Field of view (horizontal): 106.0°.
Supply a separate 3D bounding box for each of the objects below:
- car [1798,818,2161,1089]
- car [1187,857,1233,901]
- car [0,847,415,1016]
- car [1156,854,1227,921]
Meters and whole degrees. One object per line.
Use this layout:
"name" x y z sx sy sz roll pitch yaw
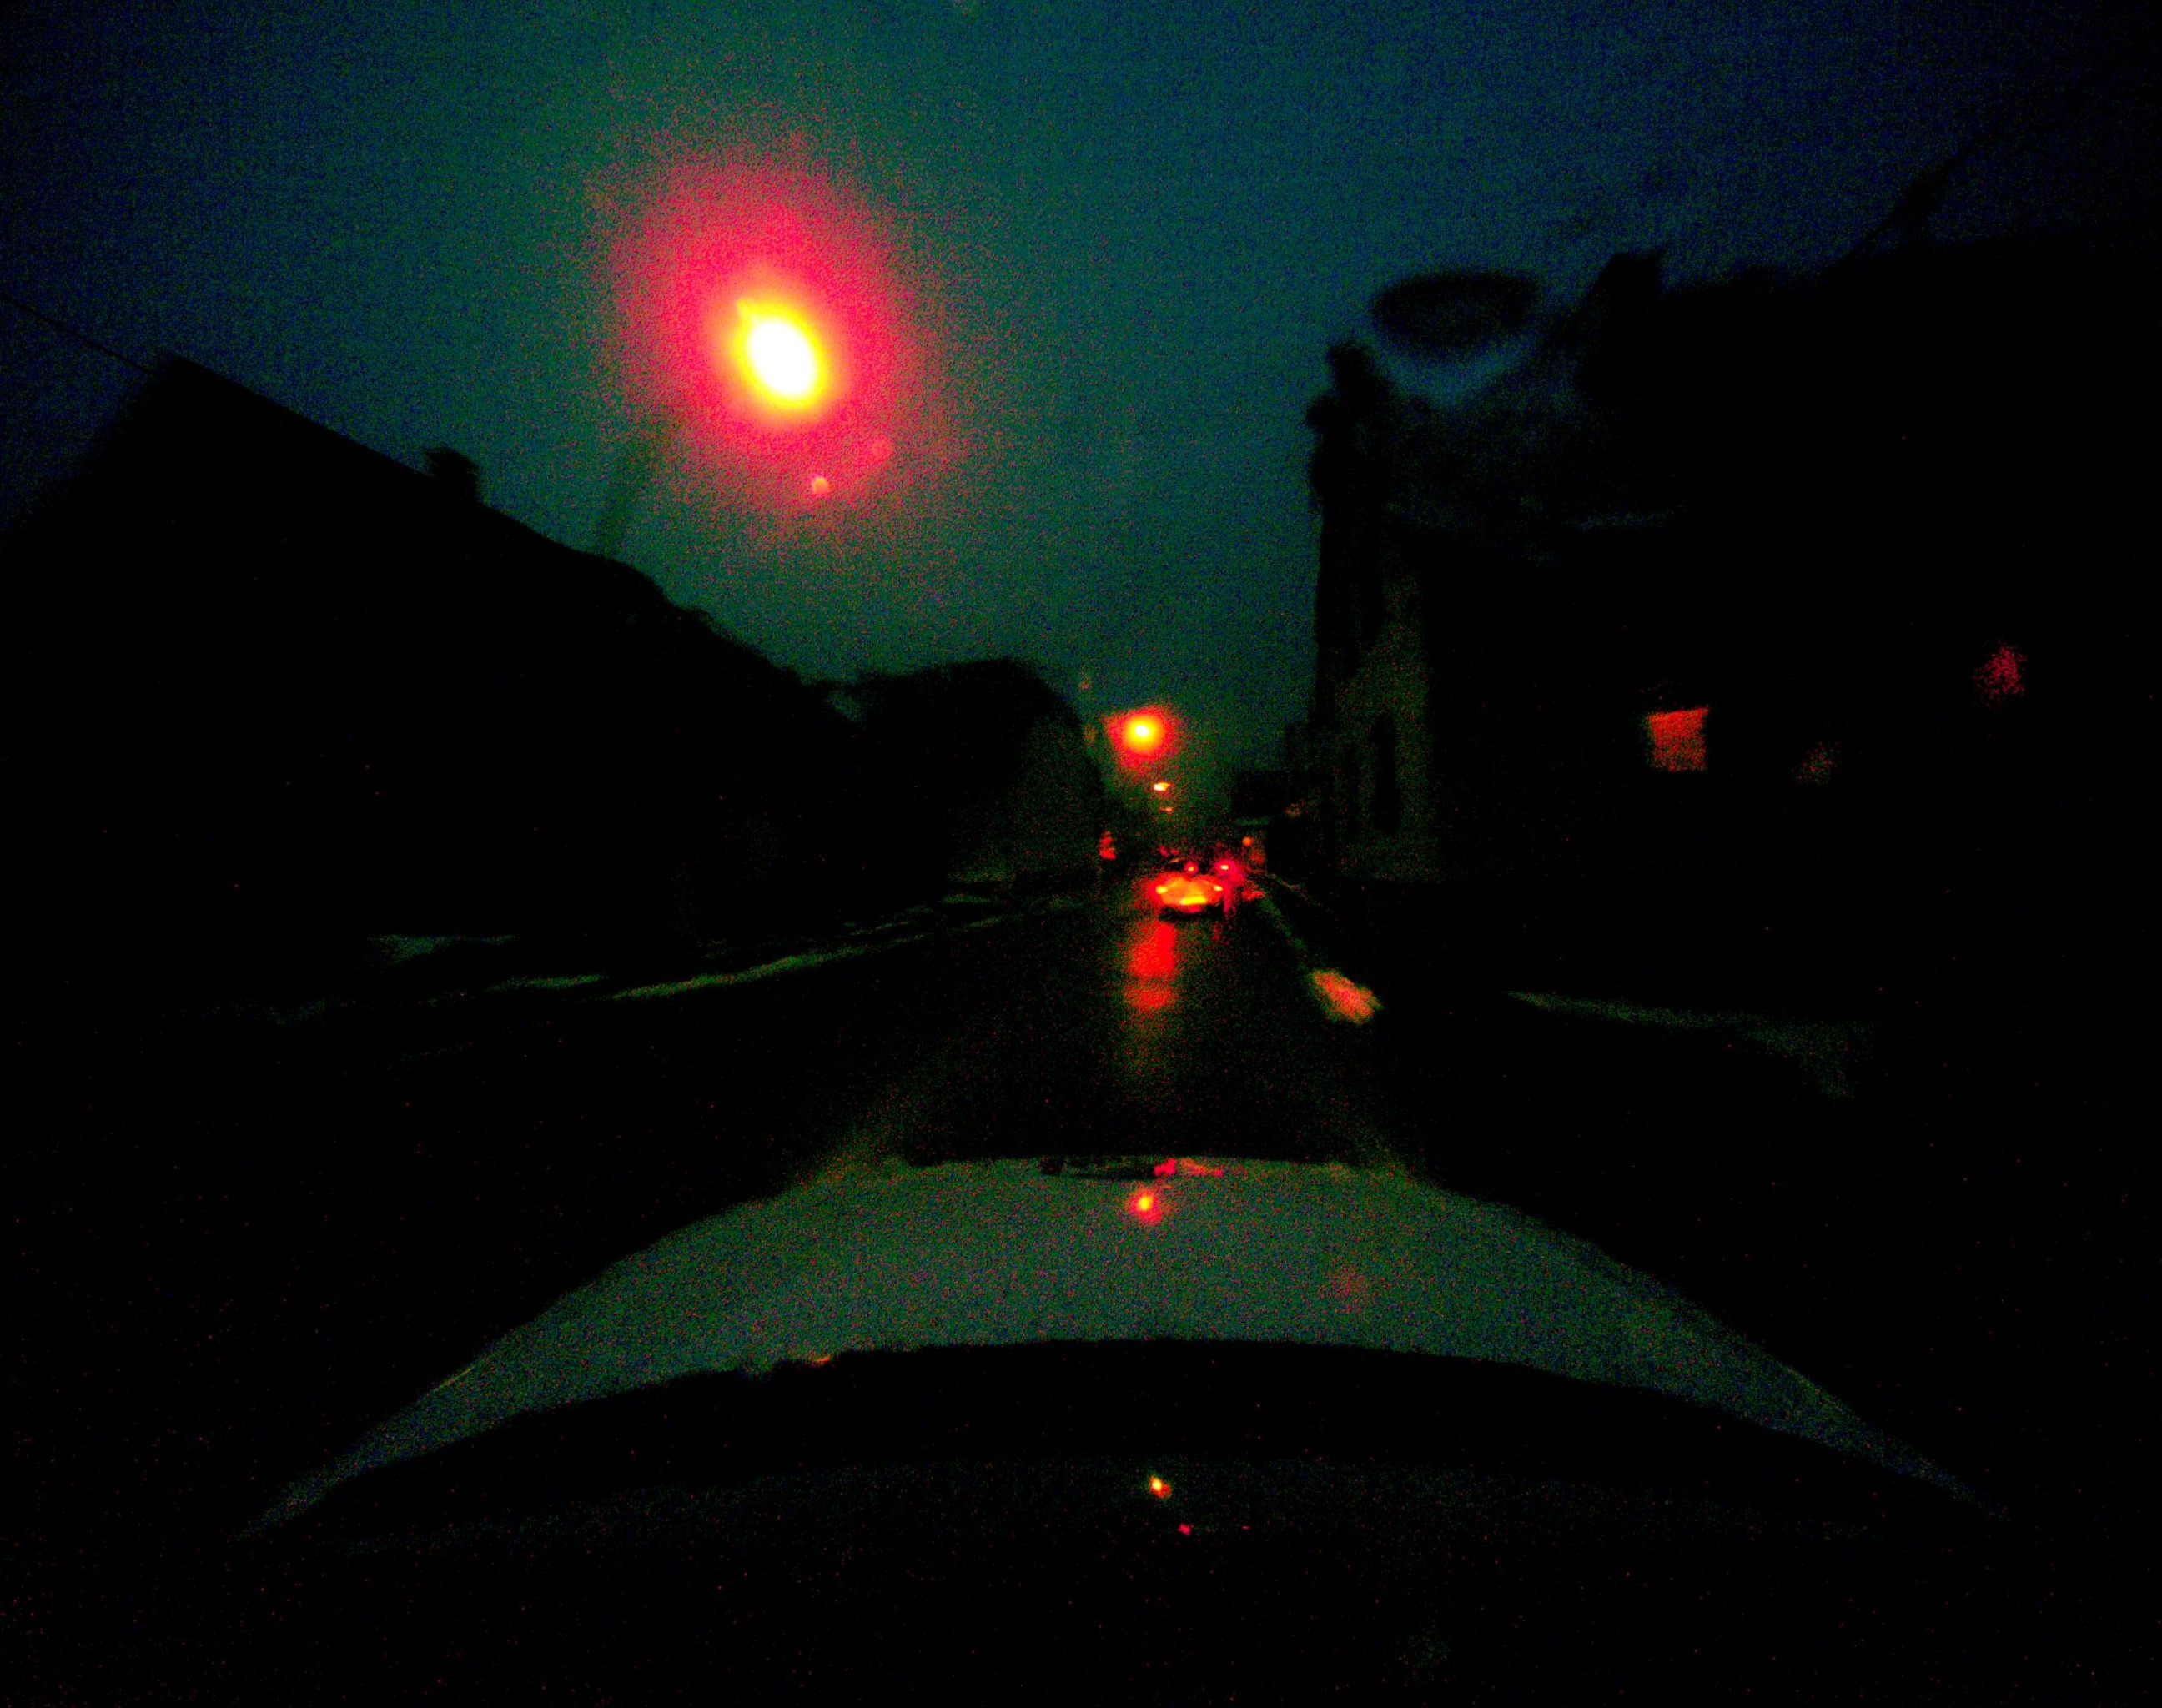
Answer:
"car" 7.840 0.600 5.630 3.967 1.596 1.914 0 -1 6
"car" 5.192 0.973 32.421 1.634 1.596 3.711 -2 -1 11
"car" -9.860 0.751 9.349 1.876 1.504 3.980 0 -2 -14
"car" 2.971 0.833 21.316 1.635 1.596 3.710 -1 -1 10
